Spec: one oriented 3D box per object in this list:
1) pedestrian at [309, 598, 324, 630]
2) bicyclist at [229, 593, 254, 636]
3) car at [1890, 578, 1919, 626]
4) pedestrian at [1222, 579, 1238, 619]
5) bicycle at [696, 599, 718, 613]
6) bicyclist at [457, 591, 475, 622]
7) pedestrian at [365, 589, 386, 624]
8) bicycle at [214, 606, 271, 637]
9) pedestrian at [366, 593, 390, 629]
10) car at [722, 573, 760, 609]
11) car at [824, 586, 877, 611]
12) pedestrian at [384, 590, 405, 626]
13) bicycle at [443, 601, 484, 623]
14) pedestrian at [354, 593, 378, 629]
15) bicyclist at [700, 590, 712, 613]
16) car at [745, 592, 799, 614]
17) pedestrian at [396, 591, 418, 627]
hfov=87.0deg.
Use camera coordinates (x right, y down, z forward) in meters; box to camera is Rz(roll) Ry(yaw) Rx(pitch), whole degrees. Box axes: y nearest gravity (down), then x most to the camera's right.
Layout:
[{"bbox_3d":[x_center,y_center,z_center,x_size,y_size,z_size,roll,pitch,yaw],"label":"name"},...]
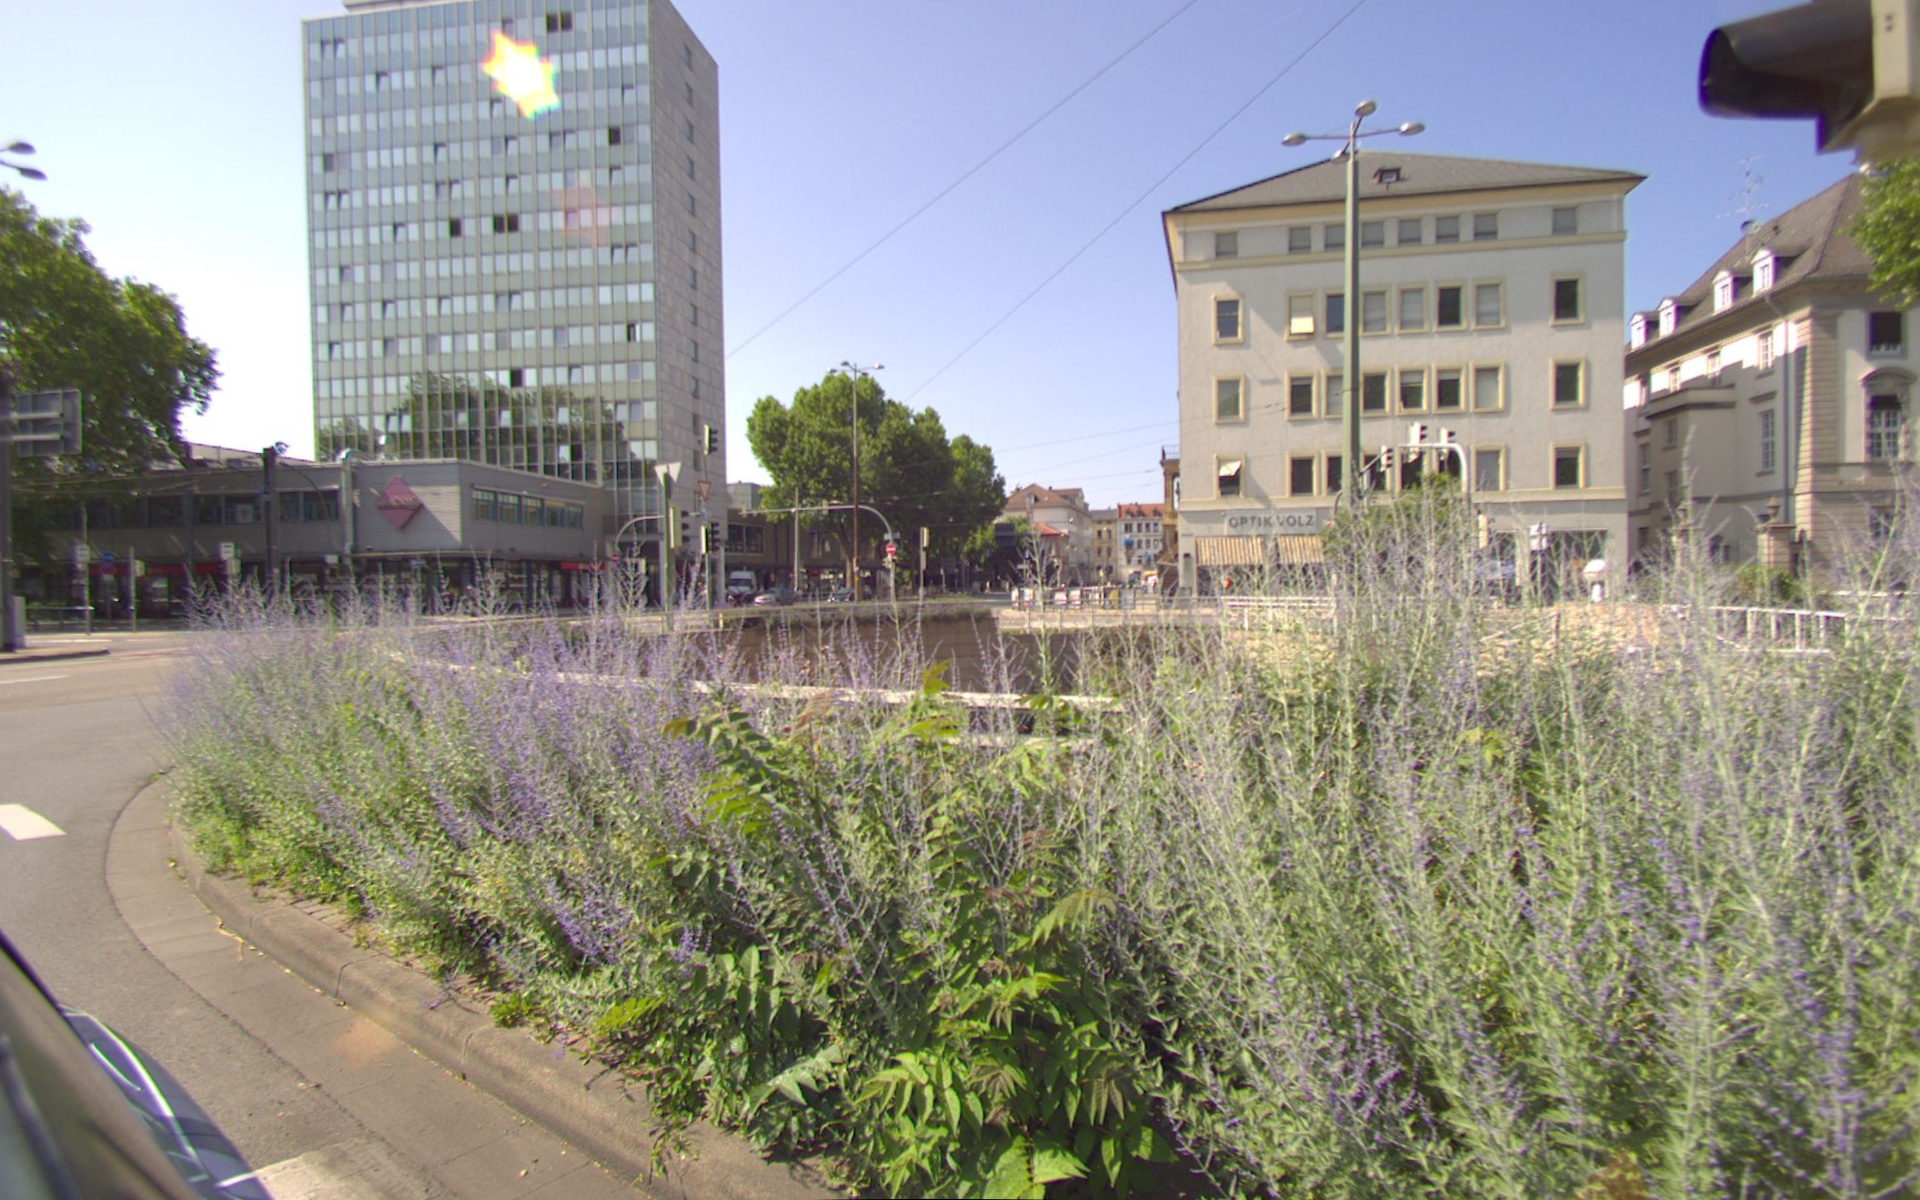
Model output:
[{"bbox_3d":[-32.926,0.710,51.756,0.589,1.650,0.567,0,0,-26],"label":"pedestrian"},{"bbox_3d":[-28.701,0.572,40.438,0.520,1.719,0.676,0,0,36],"label":"bicyclist"},{"bbox_3d":[27.587,0.036,27.151,3.544,1.278,1.607,-1,1,9],"label":"car"},{"bbox_3d":[12.080,-0.029,45.345,0.634,1.772,0.592,0,0,11],"label":"pedestrian"},{"bbox_3d":[-17.486,0.422,69.851,0.588,0.889,1.799,1,2,19],"label":"bicycle"},{"bbox_3d":[-26.806,0.353,54.895,0.583,1.700,0.675,-1,1,39],"label":"bicyclist"},{"bbox_3d":[-31.095,0.330,53.845,0.811,1.820,0.672,0,0,-44],"label":"pedestrian"},{"bbox_3d":[-28.678,0.845,40.476,0.520,1.175,1.794,0,0,36],"label":"bicycle"},{"bbox_3d":[-29.473,0.550,51.243,0.663,1.850,0.821,0,0,8],"label":"pedestrian"},{"bbox_3d":[-18.470,-0.790,85.422,1.726,2.938,4.628,-1,1,6],"label":"car"},{"bbox_3d":[-7.303,-0.115,68.077,1.870,1.545,4.050,-1,1,22],"label":"car"},{"bbox_3d":[-29.723,0.402,53.194,0.670,1.850,0.813,0,0,39],"label":"pedestrian"},{"bbox_3d":[-26.889,0.657,54.808,0.576,1.110,1.944,-1,1,38],"label":"bicycle"},{"bbox_3d":[-30.212,0.553,51.478,0.726,1.850,0.821,0,0,8],"label":"pedestrian"},{"bbox_3d":[-17.505,0.098,69.784,0.578,1.538,0.680,1,1,19],"label":"bicyclist"},{"bbox_3d":[-13.271,0.217,71.823,1.870,1.471,4.134,-1,1,22],"label":"car"},{"bbox_3d":[-28.359,0.466,51.902,0.663,1.850,0.822,0,0,7],"label":"pedestrian"}]
